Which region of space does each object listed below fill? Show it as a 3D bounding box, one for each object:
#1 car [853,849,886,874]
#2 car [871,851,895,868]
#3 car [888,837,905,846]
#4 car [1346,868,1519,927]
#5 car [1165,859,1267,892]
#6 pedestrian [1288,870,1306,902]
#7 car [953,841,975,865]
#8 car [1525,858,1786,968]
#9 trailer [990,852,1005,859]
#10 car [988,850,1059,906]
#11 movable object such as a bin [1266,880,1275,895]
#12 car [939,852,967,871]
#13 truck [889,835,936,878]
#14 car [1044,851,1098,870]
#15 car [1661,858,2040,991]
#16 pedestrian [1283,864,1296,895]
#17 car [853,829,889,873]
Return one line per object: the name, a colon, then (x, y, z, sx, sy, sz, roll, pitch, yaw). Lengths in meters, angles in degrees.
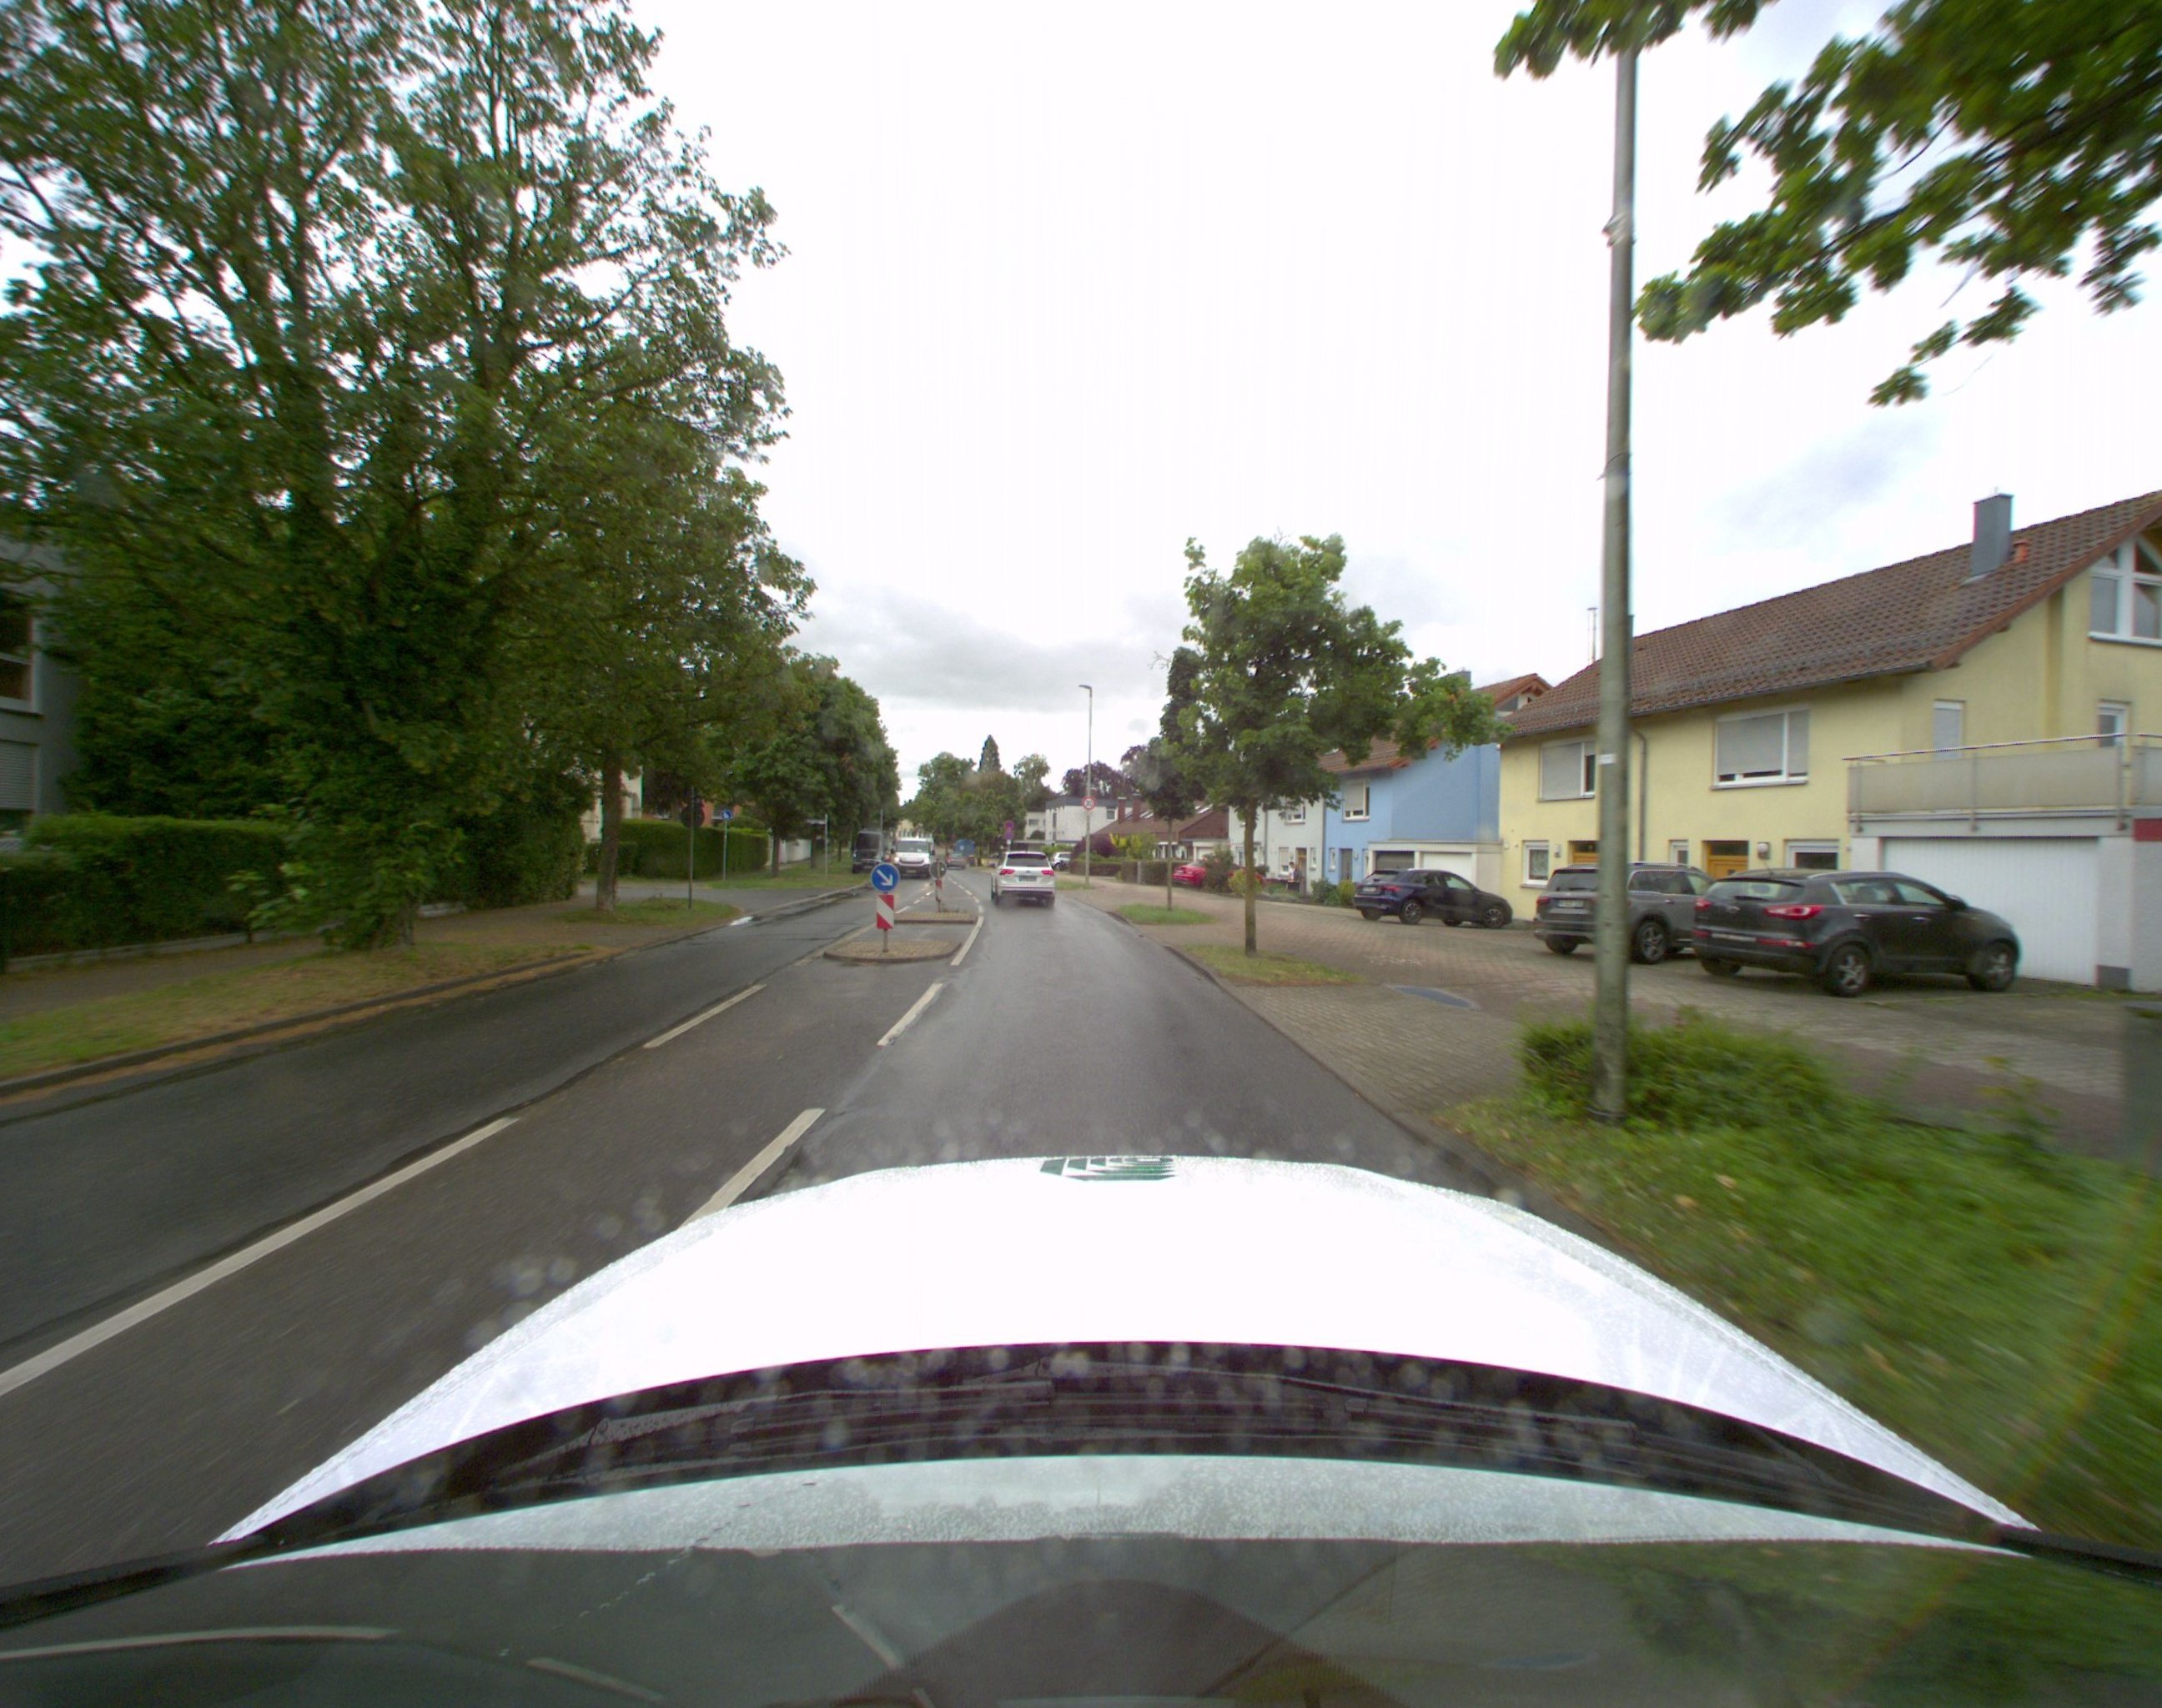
car: (-12.375, 0.423, 47.756, 1.725, 1.408, 3.808, 2, 0, -14)
car: (-17.532, 0.459, 72.240, 1.996, 1.403, 4.536, 2, 0, -14)
car: (-35.668, -2.448, 157.646, 1.655, 1.427, 3.957, 3, 1, -36)
car: (9.153, 1.121, 21.258, 3.994, 1.387, 1.666, 2, 0, -16)
car: (6.139, 0.982, 36.911, 4.321, 1.260, 1.666, 3, 0, -23)
pedestrian: (9.497, 1.400, 35.815, 0.538, 1.351, 0.525, 2, -1, -26)
car: (-13.179, -0.164, 91.703, 1.996, 2.586, 5.608, 0, 1, -13)
car: (10.247, 1.057, 14.540, 4.193, 1.671, 1.710, 4, -1, -21)
trailer: (-11.851, 0.182, 115.472, 2.042, 0.883, 1.360, 3, 0, -10)
car: (-1.907, 0.725, 26.024, 1.865, 1.651, 3.986, 1, 0, -10)
movable object such as a bin: (8.082, 1.414, 34.806, 0.256, 0.626, 0.324, 1, 0, -12)
car: (-10.635, 0.593, 67.321, 1.773, 1.551, 3.977, 1, 0, -17)
truck: (-9.561, 0.151, 46.716, 2.216, 2.204, 6.444, 2, 0, -9)
car: (-0.803, 0.519, 65.279, 3.993, 1.442, 1.838, 1, 0, -15)
car: (10.993, 0.952, 11.761, 4.183, 1.671, 1.983, 1, 0, -13)
pedestrian: (9.319, 1.114, 36.368, 0.493, 1.351, 0.566, 2, -1, 9)
car: (-13.971, -0.210, 54.463, 1.995, 2.728, 5.912, 3, 0, -13)
